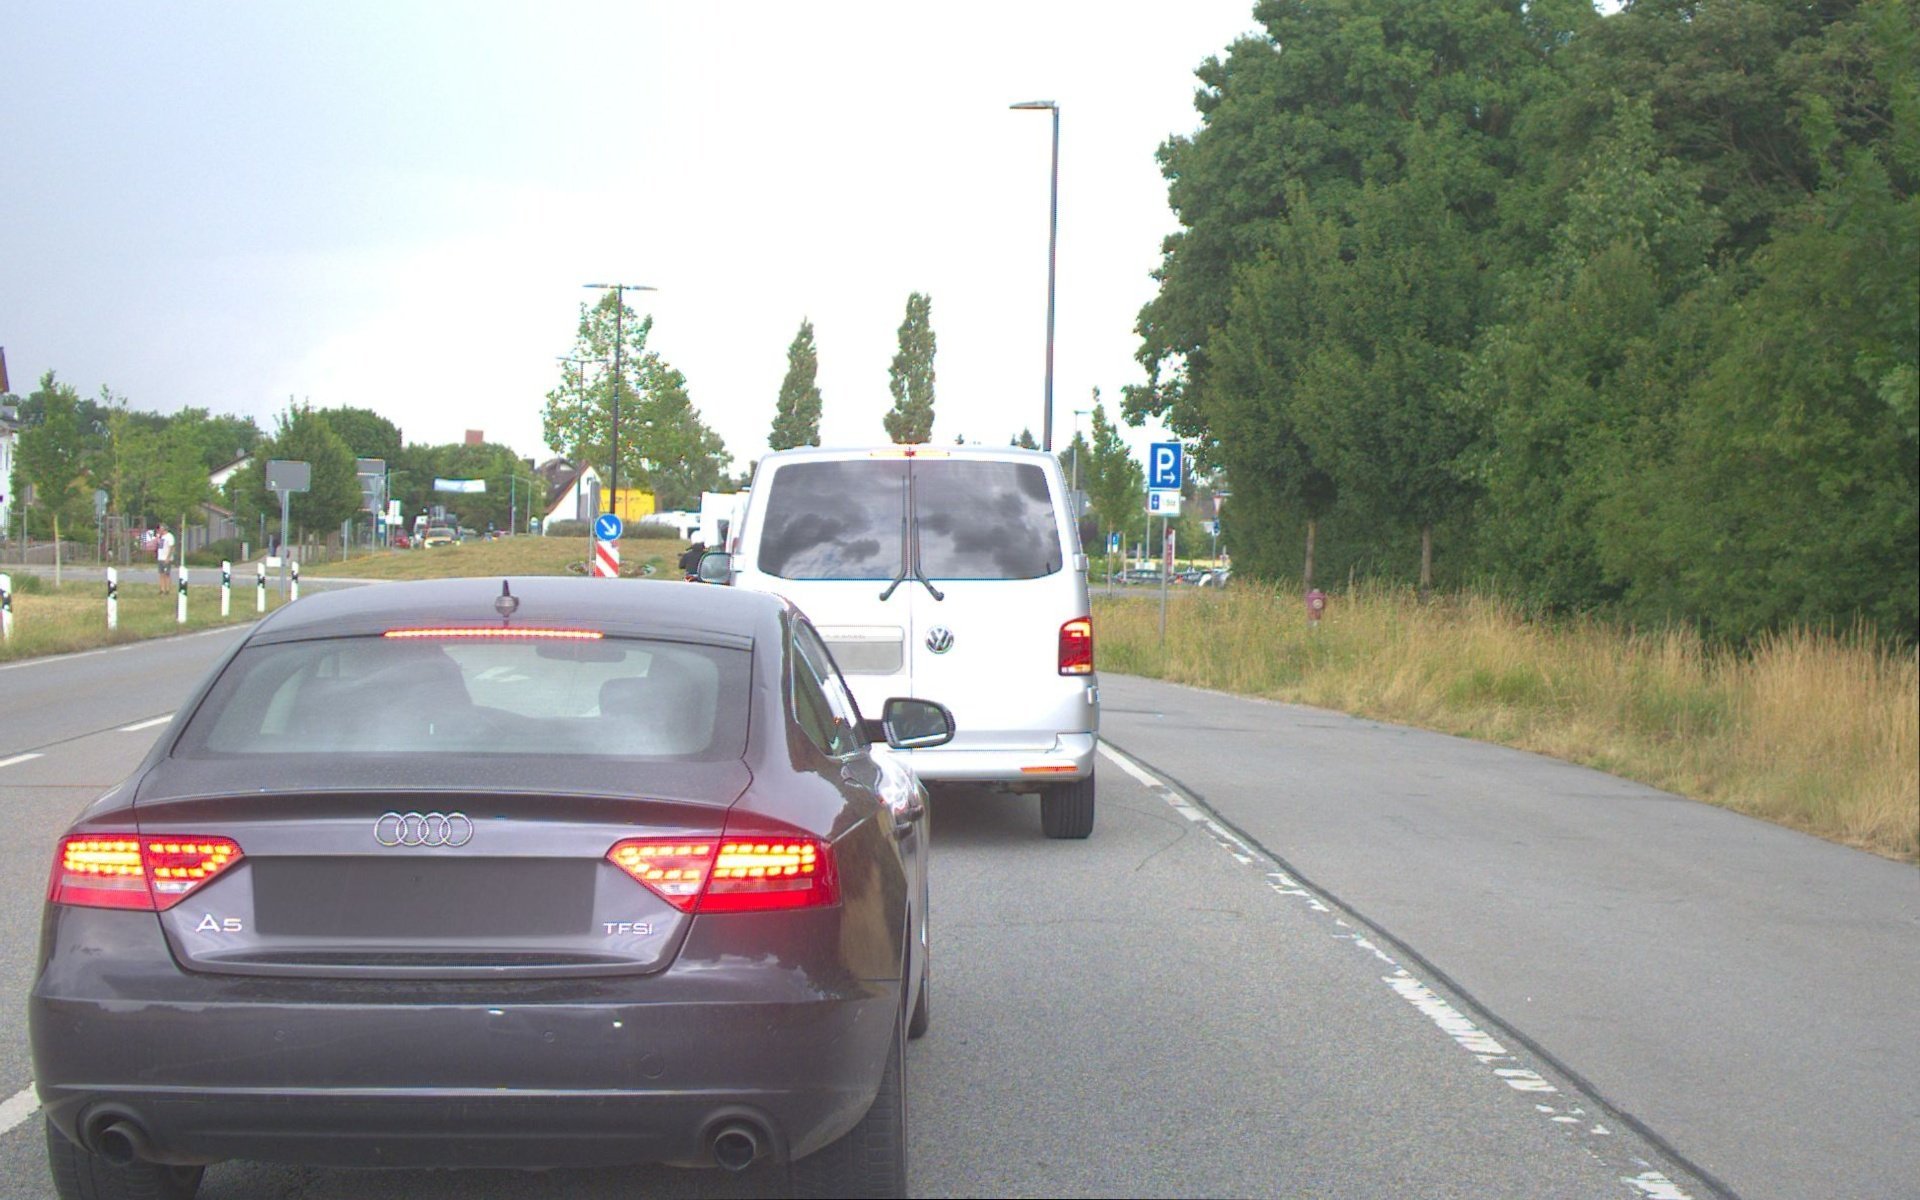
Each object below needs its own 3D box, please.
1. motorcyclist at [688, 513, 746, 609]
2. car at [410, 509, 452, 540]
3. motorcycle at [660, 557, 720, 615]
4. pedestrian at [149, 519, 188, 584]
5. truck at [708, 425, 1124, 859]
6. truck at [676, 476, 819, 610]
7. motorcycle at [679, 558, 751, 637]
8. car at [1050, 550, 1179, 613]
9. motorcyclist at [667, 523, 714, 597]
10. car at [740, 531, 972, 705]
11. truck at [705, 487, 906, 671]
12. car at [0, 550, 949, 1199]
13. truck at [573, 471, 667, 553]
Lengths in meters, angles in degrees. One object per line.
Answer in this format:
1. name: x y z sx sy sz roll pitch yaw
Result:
1. motorcyclist: -3.567 -0.576 50.473 0.772 1.379 0.820 2 1 -1
2. car: -29.139 -4.149 189.489 1.993 1.636 4.001 2 1 -5
3. motorcycle: -5.033 -0.269 64.178 0.944 1.016 2.284 1 1 -1
4. pedestrian: -19.374 -1.192 84.101 0.656 1.580 0.703 1 1 -39
5. truck: -0.234 0.152 18.419 1.904 1.991 4.629 1 1 -1
6. truck: -4.722 -1.257 75.396 2.625 2.728 5.869 2 1 -8
7. motorcycle: -3.590 -0.049 50.477 0.920 1.090 2.189 2 1 -1
8. car: 5.338 -0.651 118.623 3.991 2.007 1.998 2 1 19
9. motorcyclist: -5.018 -0.750 64.099 0.785 1.352 0.854 1 1 -1
10. car: -0.963 0.131 31.990 1.993 1.480 4.000 1 1 -2
11. truck: -1.771 -0.270 41.017 2.193 2.007 5.085 1 1 -1
12. car: -1.015 0.617 8.478 1.875 1.449 4.177 1 1 1
13. truck: -15.912 -4.110 160.291 3.575 3.566 9.959 2 1 -10
